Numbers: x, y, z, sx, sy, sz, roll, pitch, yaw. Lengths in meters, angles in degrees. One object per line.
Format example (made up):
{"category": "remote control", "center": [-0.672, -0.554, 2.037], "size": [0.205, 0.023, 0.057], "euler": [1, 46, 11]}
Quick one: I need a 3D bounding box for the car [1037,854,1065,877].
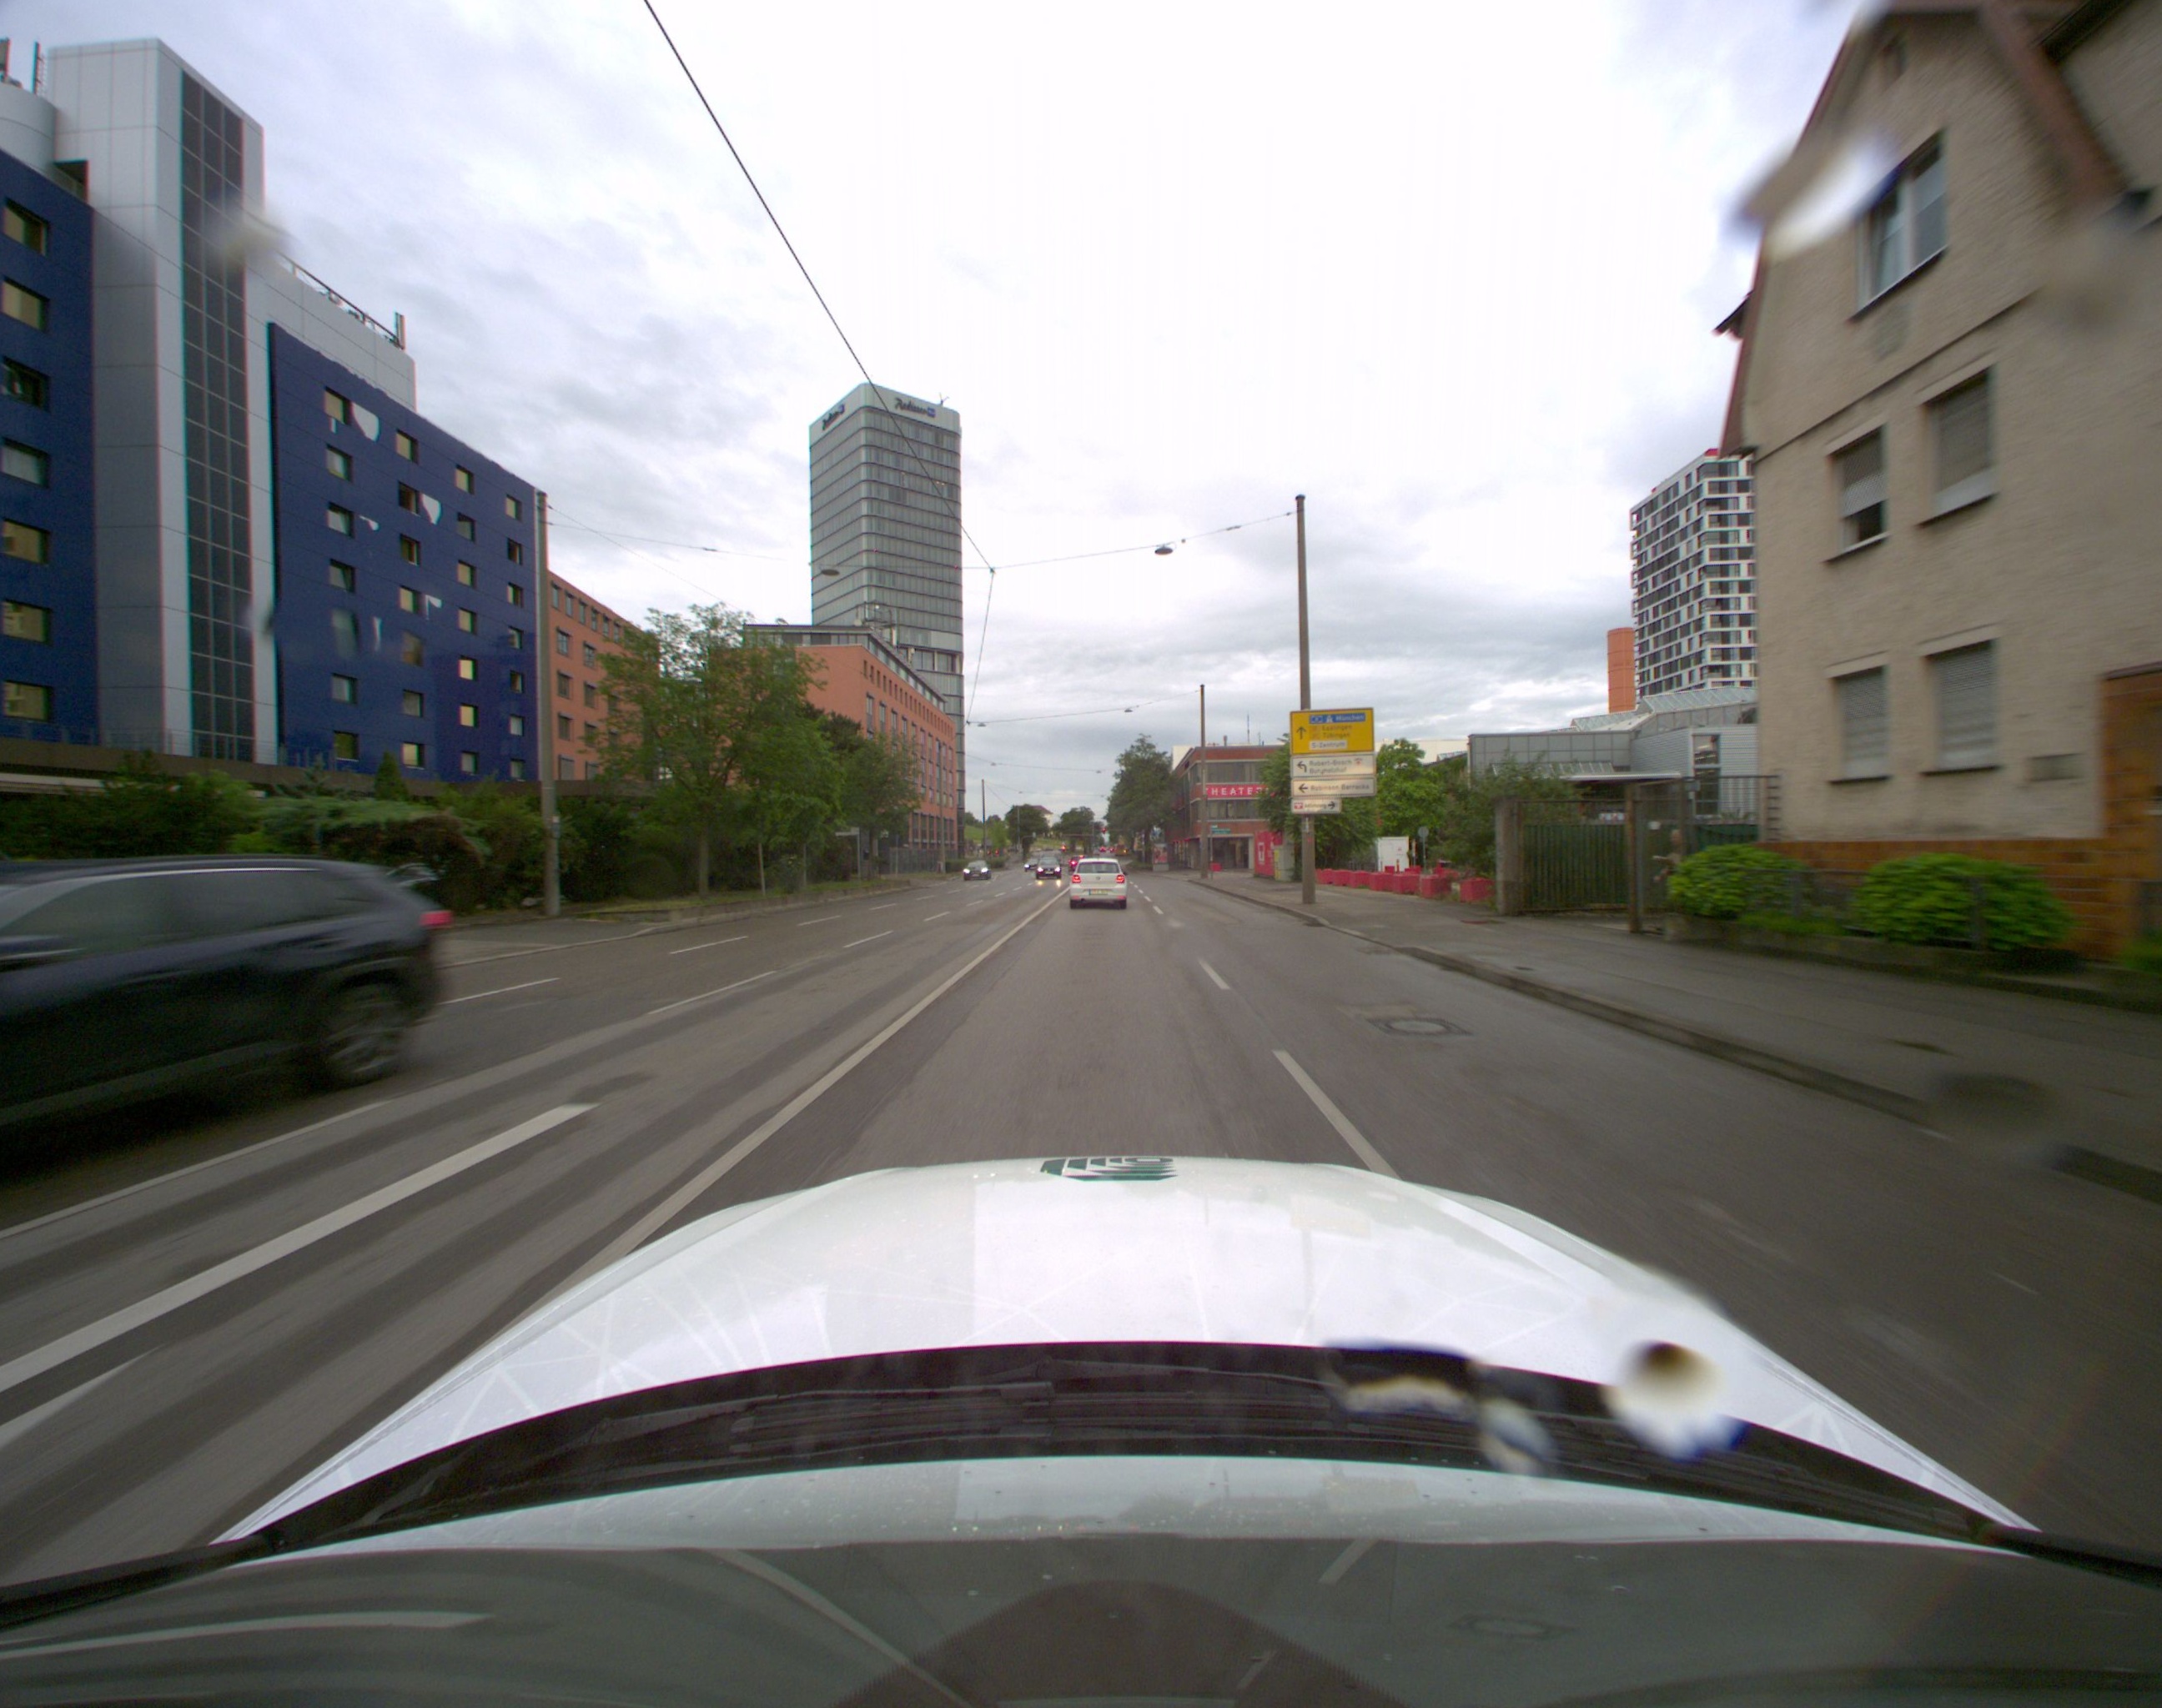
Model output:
{"category": "car", "center": [-2.067, 0.772, 56.434], "size": [1.653, 1.486, 3.821], "euler": [-1, 0, 2]}

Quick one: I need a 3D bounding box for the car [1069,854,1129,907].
{"category": "car", "center": [0.557, 0.741, 24.687], "size": [1.665, 1.474, 3.780], "euler": [-1, 0, 1]}

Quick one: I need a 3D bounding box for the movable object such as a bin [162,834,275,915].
{"category": "movable object such as a bin", "center": [-17.337, 0.412, 16.384], "size": [1.380, 1.491, 0.954], "euler": [-4, -2, 12]}

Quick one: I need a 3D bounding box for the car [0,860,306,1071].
{"category": "car", "center": [-9.147, 0.926, 6.588], "size": [1.701, 1.566, 4.036], "euler": [-4, 1, 2]}

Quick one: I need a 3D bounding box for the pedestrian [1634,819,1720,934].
{"category": "pedestrian", "center": [9.539, 0.351, 13.076], "size": [0.904, 1.764, 0.771], "euler": [0, -1, 17]}

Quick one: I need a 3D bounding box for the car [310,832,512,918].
{"category": "car", "center": [-18.218, 0.592, 22.451], "size": [1.829, 2.014, 4.317], "euler": [-4, -2, 2]}

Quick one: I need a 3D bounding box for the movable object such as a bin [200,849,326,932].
{"category": "movable object such as a bin", "center": [-15.870, 0.705, 15.840], "size": [1.389, 1.491, 0.948], "euler": [-3, -2, -8]}

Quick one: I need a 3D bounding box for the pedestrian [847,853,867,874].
{"category": "pedestrian", "center": [-19.148, 0.850, 69.632], "size": [1.202, 1.679, 1.420], "euler": [-3, -2, 2]}

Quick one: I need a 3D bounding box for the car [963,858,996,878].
{"category": "car", "center": [-7.619, 1.046, 61.604], "size": [1.614, 1.323, 4.450], "euler": [-3, 0, 3]}

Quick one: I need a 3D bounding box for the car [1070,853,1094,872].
{"category": "car", "center": [0.101, 0.724, 72.012], "size": [1.986, 1.574, 4.001], "euler": [-2, 0, 1]}

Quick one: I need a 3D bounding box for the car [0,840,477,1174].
{"category": "car", "center": [-6.017, 0.773, 4.572], "size": [1.750, 1.555, 4.452], "euler": [-3, 1, 1]}

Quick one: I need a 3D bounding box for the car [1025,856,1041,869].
{"category": "car", "center": [-5.402, 0.939, 92.379], "size": [1.707, 1.365, 3.997], "euler": [-2, -1, -2]}
